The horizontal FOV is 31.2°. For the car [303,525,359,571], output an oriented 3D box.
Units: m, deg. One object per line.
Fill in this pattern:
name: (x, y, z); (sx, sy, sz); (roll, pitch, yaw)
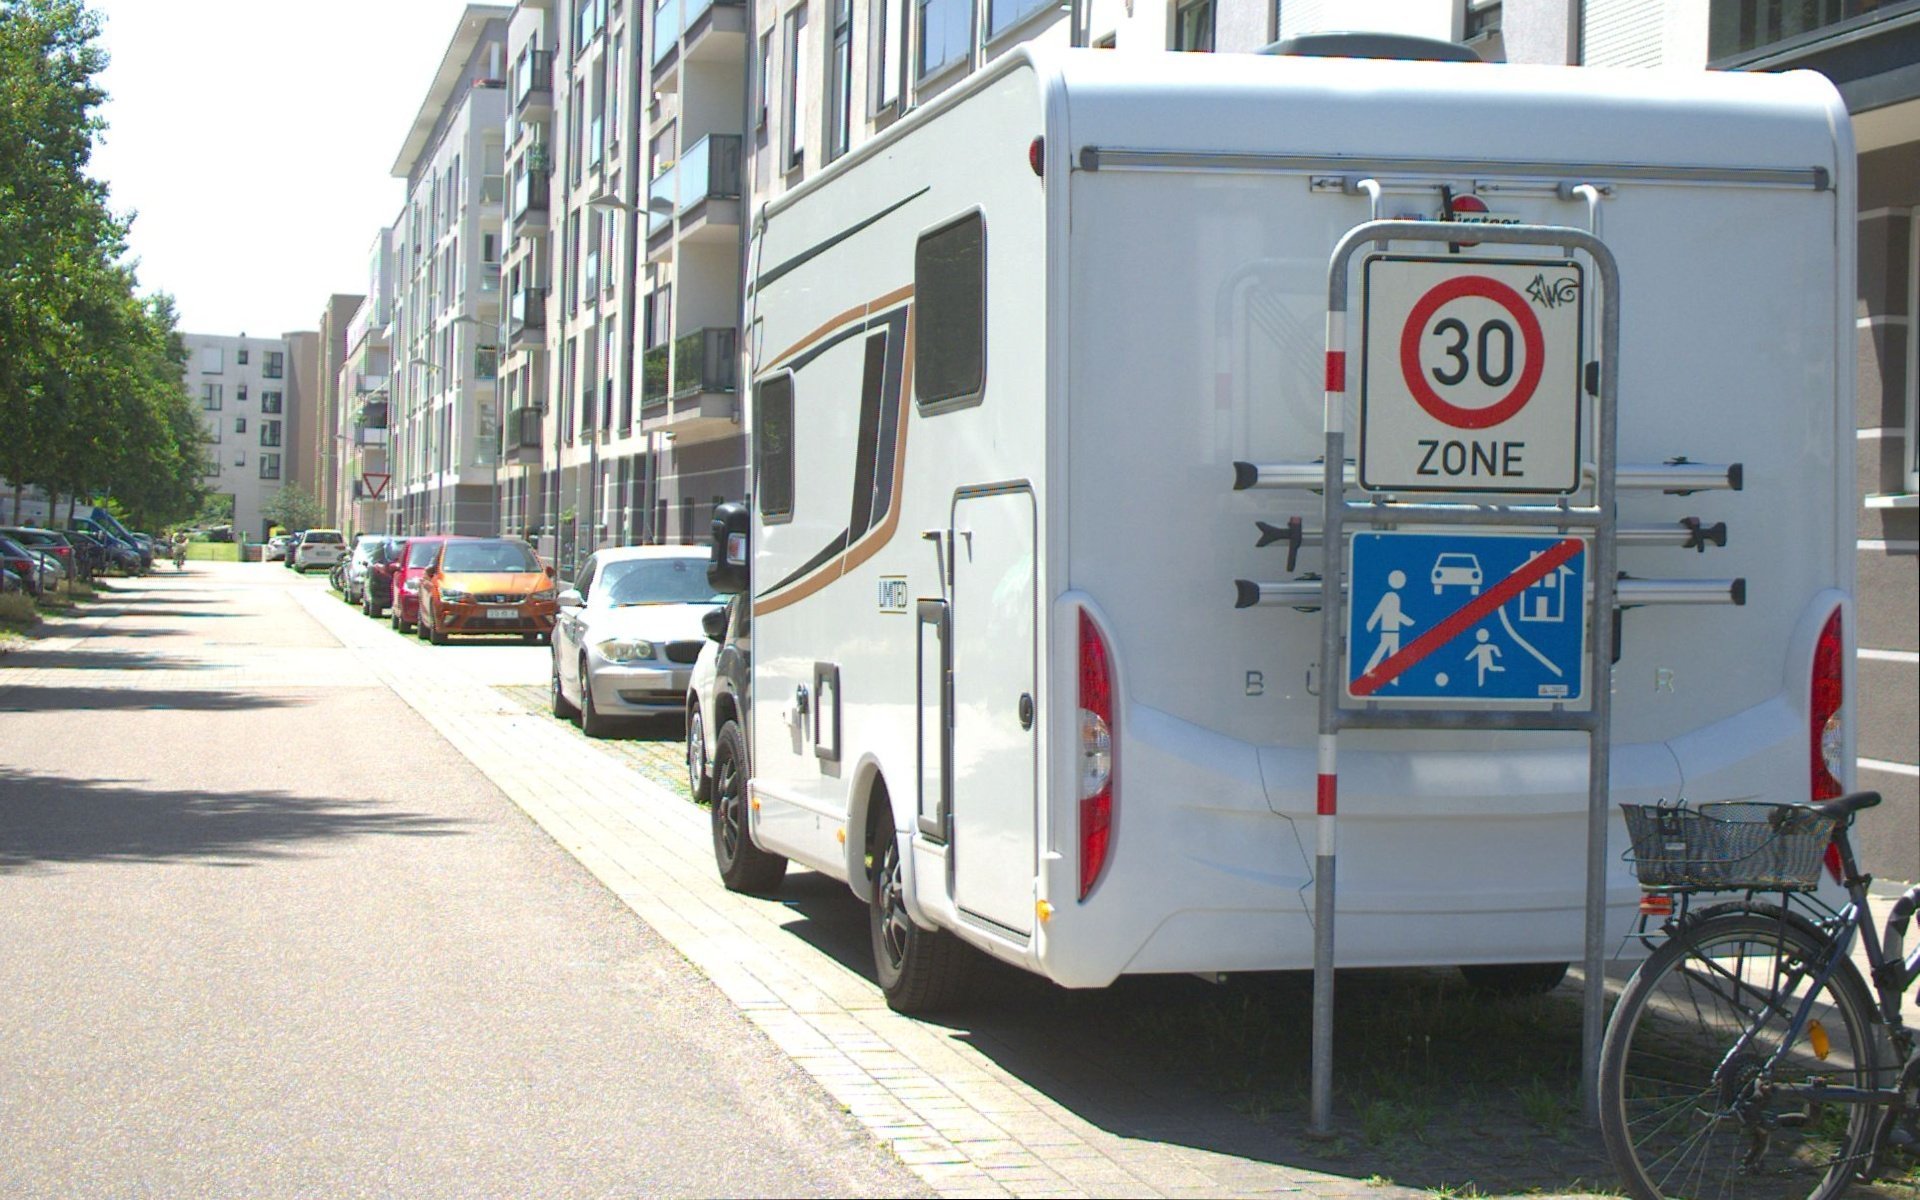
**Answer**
car: (-23.556, -1.952, 128.691); (1.997, 1.651, 4.116); (1, 1, -11)

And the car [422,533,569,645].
car: (-6.527, -0.183, 48.001); (1.737, 1.482, 4.260); (0, 1, -12)

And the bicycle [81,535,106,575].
bicycle: (-27.767, -1.442, 110.171); (0.570, 1.170, 1.769); (4, 1, -19)

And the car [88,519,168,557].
car: (-45.889, -3.433, 189.741); (3.986, 2.007, 2.000); (1, 1, -5)

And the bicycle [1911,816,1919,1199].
bicycle: (2.492, 0.814, 5.419); (1.849, 1.218, 0.556); (1, 1, -10)

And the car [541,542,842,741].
car: (-2.215, 0.272, 27.271); (1.845, 1.411, 4.427); (1, 1, -11)

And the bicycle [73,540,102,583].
bicycle: (-23.398, -1.043, 92.166); (0.433, 1.124, 1.979); (0, 1, -24)

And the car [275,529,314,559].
car: (-37.943, -3.185, 195.847); (1.993, 1.669, 4.001); (1, 1, -13)

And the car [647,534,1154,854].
car: (-0.455, 0.401, 18.428); (1.806, 1.499, 4.262); (0, 1, -14)

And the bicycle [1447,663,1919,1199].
bicycle: (2.084, 0.774, 7.419); (1.915, 1.218, 0.827); (-1, 2, -28)

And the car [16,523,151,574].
car: (-30.551, -1.806, 119.933); (4.381, 1.510, 2.076); (3, 0, -12)

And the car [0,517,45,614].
car: (-18.147, -0.692, 60.013); (3.986, 1.645, 1.919); (3, 1, -10)

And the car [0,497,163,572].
car: (-33.761, -2.513, 132.150); (6.022, 2.806, 2.606); (1, 1, -12)

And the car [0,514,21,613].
car: (-17.869, -0.711, 57.490); (3.986, 1.624, 1.934); (3, 1, -12)

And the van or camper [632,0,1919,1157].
van or camper: (0.622, -0.129, 12.217); (2.438, 2.896, 7.829); (2, 0, -13)

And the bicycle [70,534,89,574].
bicycle: (-28.192, -1.482, 110.091); (0.434, 1.200, 1.700); (3, 2, -11)

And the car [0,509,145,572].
car: (-32.774, -2.206, 126.811); (5.143, 2.112, 2.312); (2, 1, -12)

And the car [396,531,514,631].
car: (-7.872, -0.319, 53.377); (1.595, 1.480, 3.677); (-1, 1, -12)

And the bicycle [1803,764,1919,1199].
bicycle: (2.408, 0.856, 5.788); (1.882, 1.107, 0.476); (1, 1, -10)

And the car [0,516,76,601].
car: (-20.128, -0.838, 69.470); (4.359, 1.704, 2.001); (-1, 1, -14)

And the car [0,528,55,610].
car: (-18.586, -0.639, 62.624); (3.973, 1.440, 1.776); (3, 0, -15)

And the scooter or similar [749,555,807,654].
scooter or similar: (-2.320, 0.041, 43.961); (0.545, 1.221, 1.529); (2, 1, 3)

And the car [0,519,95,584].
car: (-23.478, -1.221, 84.585); (4.179, 1.481, 1.959); (2, -1, -15)
